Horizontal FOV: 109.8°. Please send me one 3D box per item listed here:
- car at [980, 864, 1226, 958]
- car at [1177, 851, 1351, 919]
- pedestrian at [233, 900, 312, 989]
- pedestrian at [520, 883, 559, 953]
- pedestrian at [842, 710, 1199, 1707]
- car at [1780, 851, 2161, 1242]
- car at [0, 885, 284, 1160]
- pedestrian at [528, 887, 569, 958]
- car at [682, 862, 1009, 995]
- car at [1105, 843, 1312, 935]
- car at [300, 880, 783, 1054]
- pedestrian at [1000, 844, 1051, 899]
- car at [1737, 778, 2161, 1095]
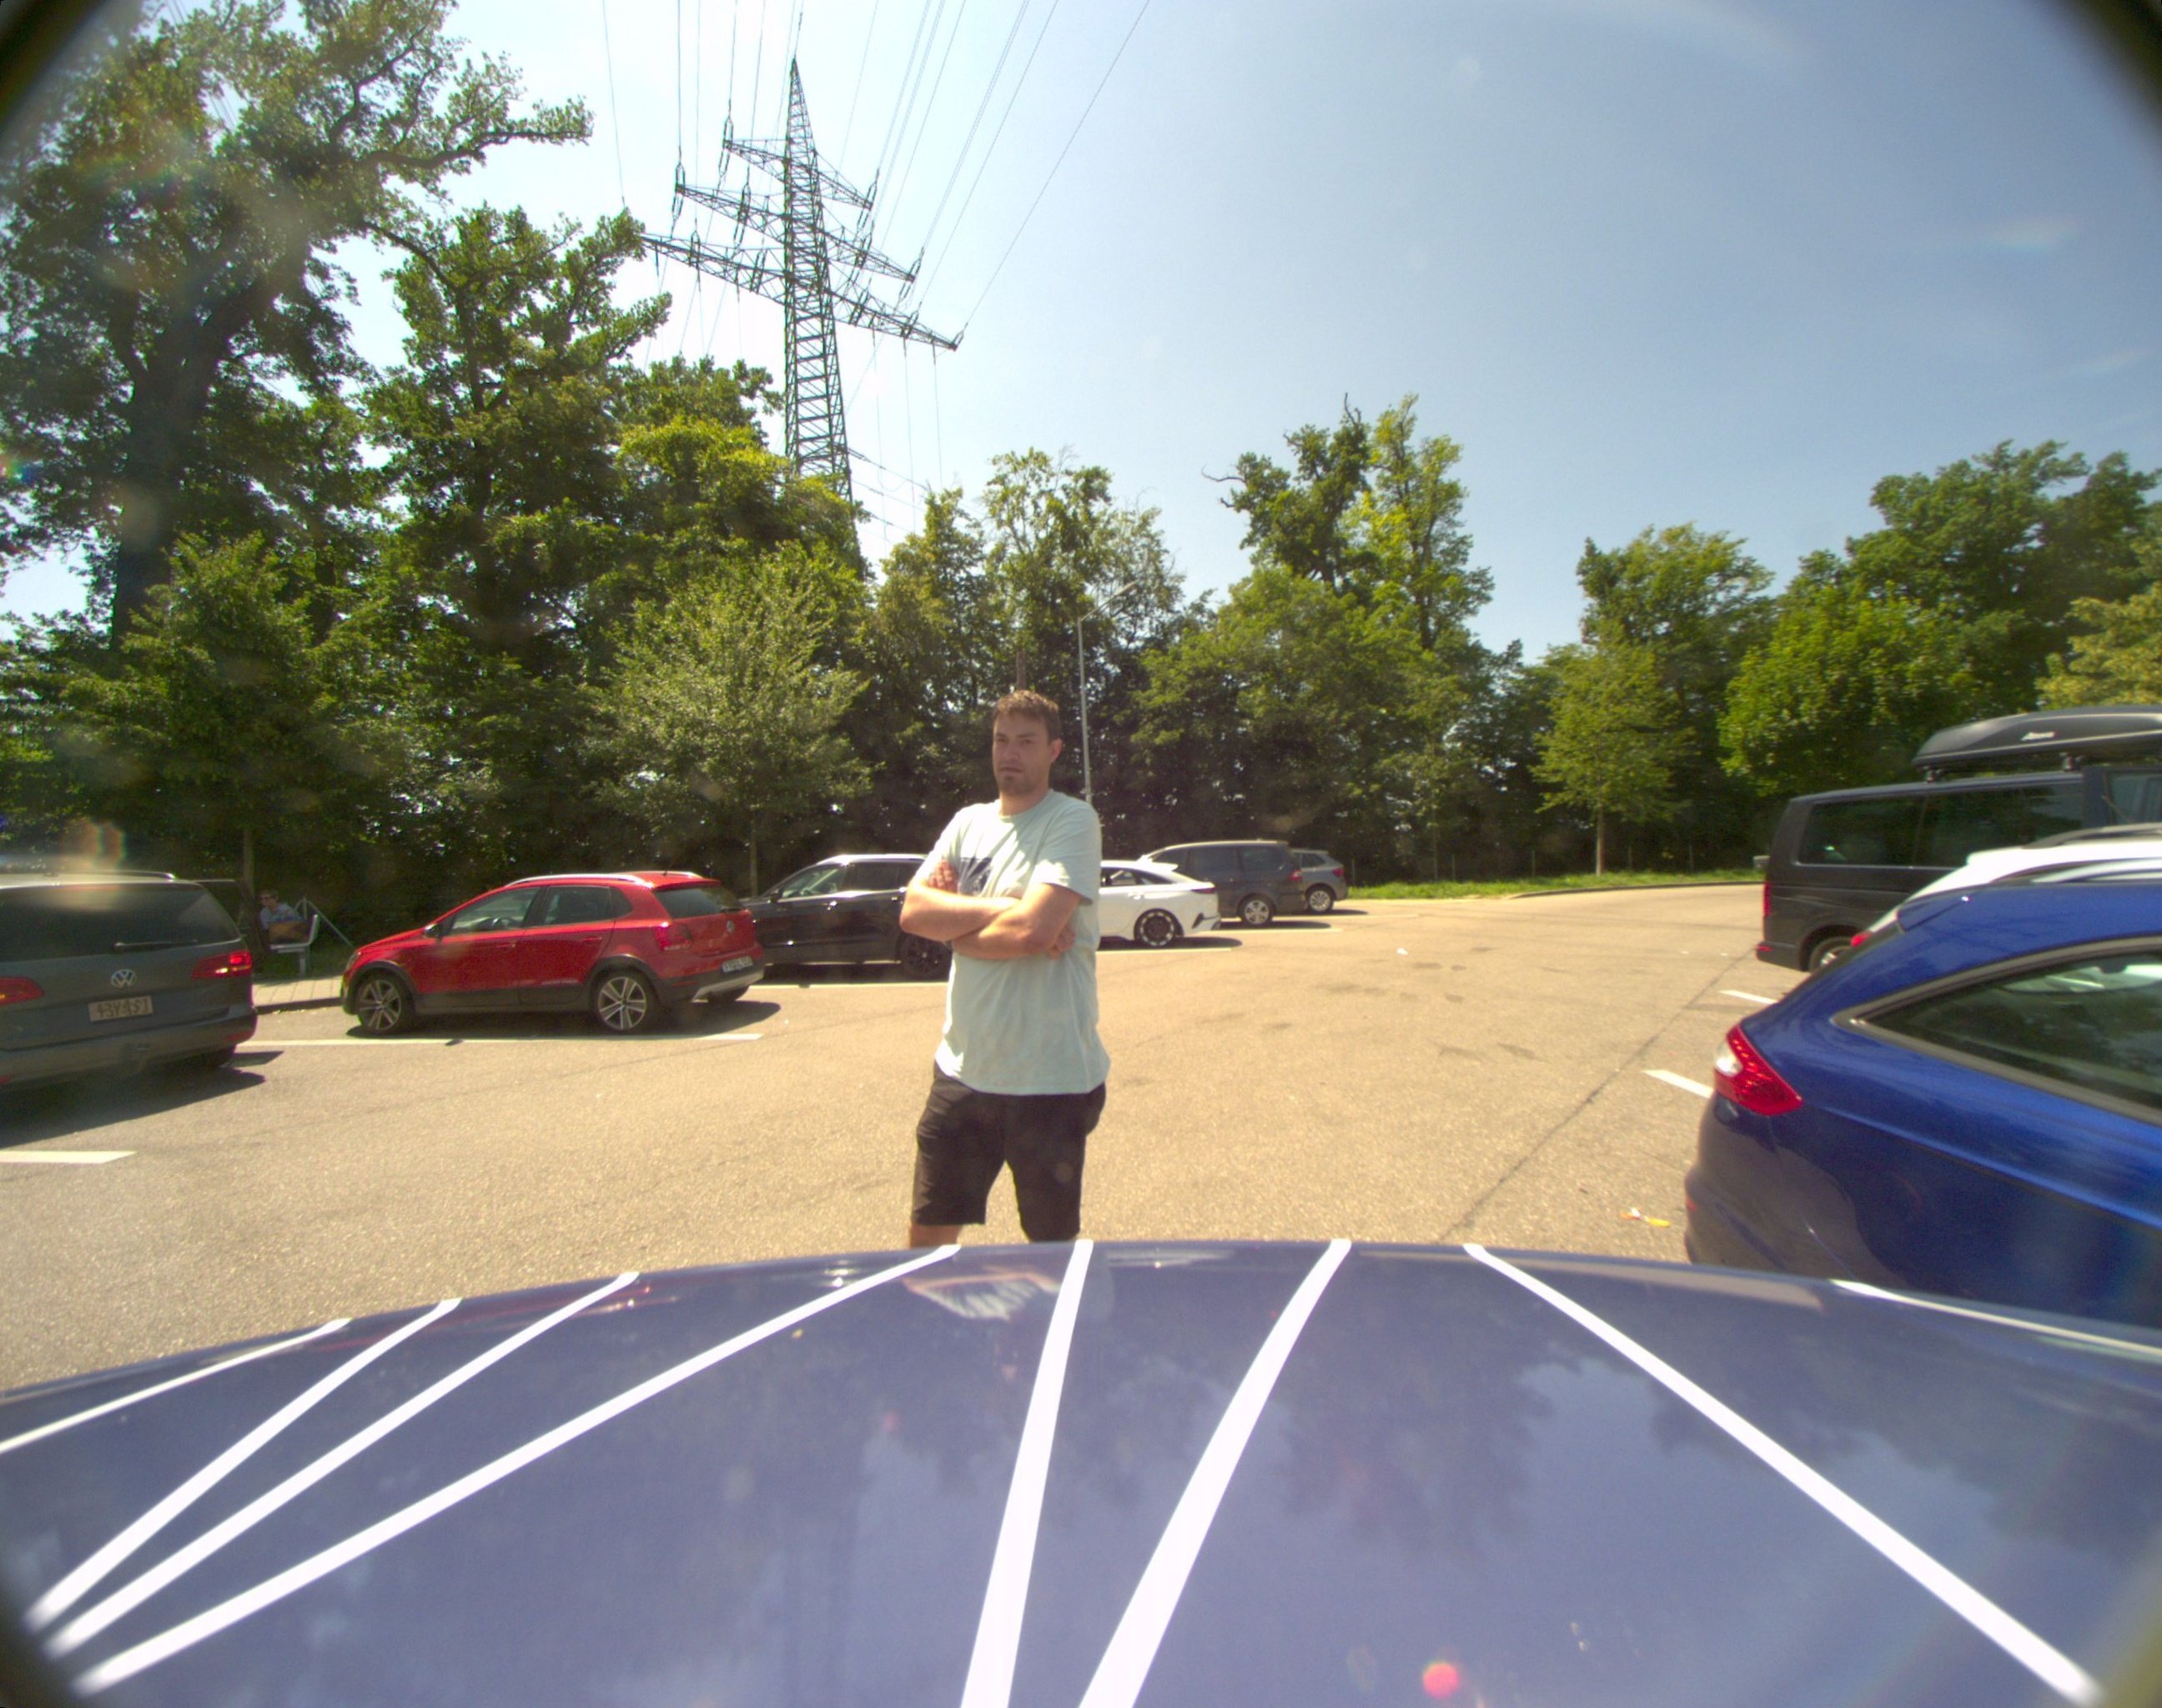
[{"bbox_3d":[0.404,0.905,12.729,3.805,1.359,1.803,-1,1,5],"label":"car"},{"bbox_3d":[4.254,0.706,18.123,3.805,1.468,1.743,-1,1,5],"label":"car"},{"bbox_3d":[-11.777,1.300,11.077,0.680,1.211,0.675,-4,-2,36],"label":"pedestrian"},{"bbox_3d":[-10.935,1.274,15.352,0.490,1.367,0.506,-2,0,41],"label":"pedestrian"},{"bbox_3d":[-0.202,0.665,1.822,0.634,1.857,0.747,-2,0,-17],"label":"pedestrian"},{"bbox_3d":[4.777,0.700,2.416,1.607,1.405,3.743,-2,-1,-1],"label":"car"},{"bbox_3d":[-8.345,1.089,5.435,3.950,1.581,1.753,-1,1,11],"label":"car"},{"bbox_3d":[-10.173,1.292,14.521,0.490,1.291,0.506,-2,0,41],"label":"pedestrian"},{"bbox_3d":[-3.011,0.935,10.279,3.806,1.538,1.759,-1,1,2],"label":"car"},{"bbox_3d":[2.505,0.679,15.479,3.882,1.680,1.882,-1,0,5],"label":"car"},{"bbox_3d":[-5.244,1.060,7.651,3.804,1.449,1.637,-1,1,7],"label":"car"},{"bbox_3d":[-1.360,0.424,18.711,0.890,1.292,0.865,-2,0,23],"label":"pedestrian"},{"bbox_3d":[7.304,0.456,5.013,2.048,1.850,4.430,-2,-1,-1],"label":"car"}]
